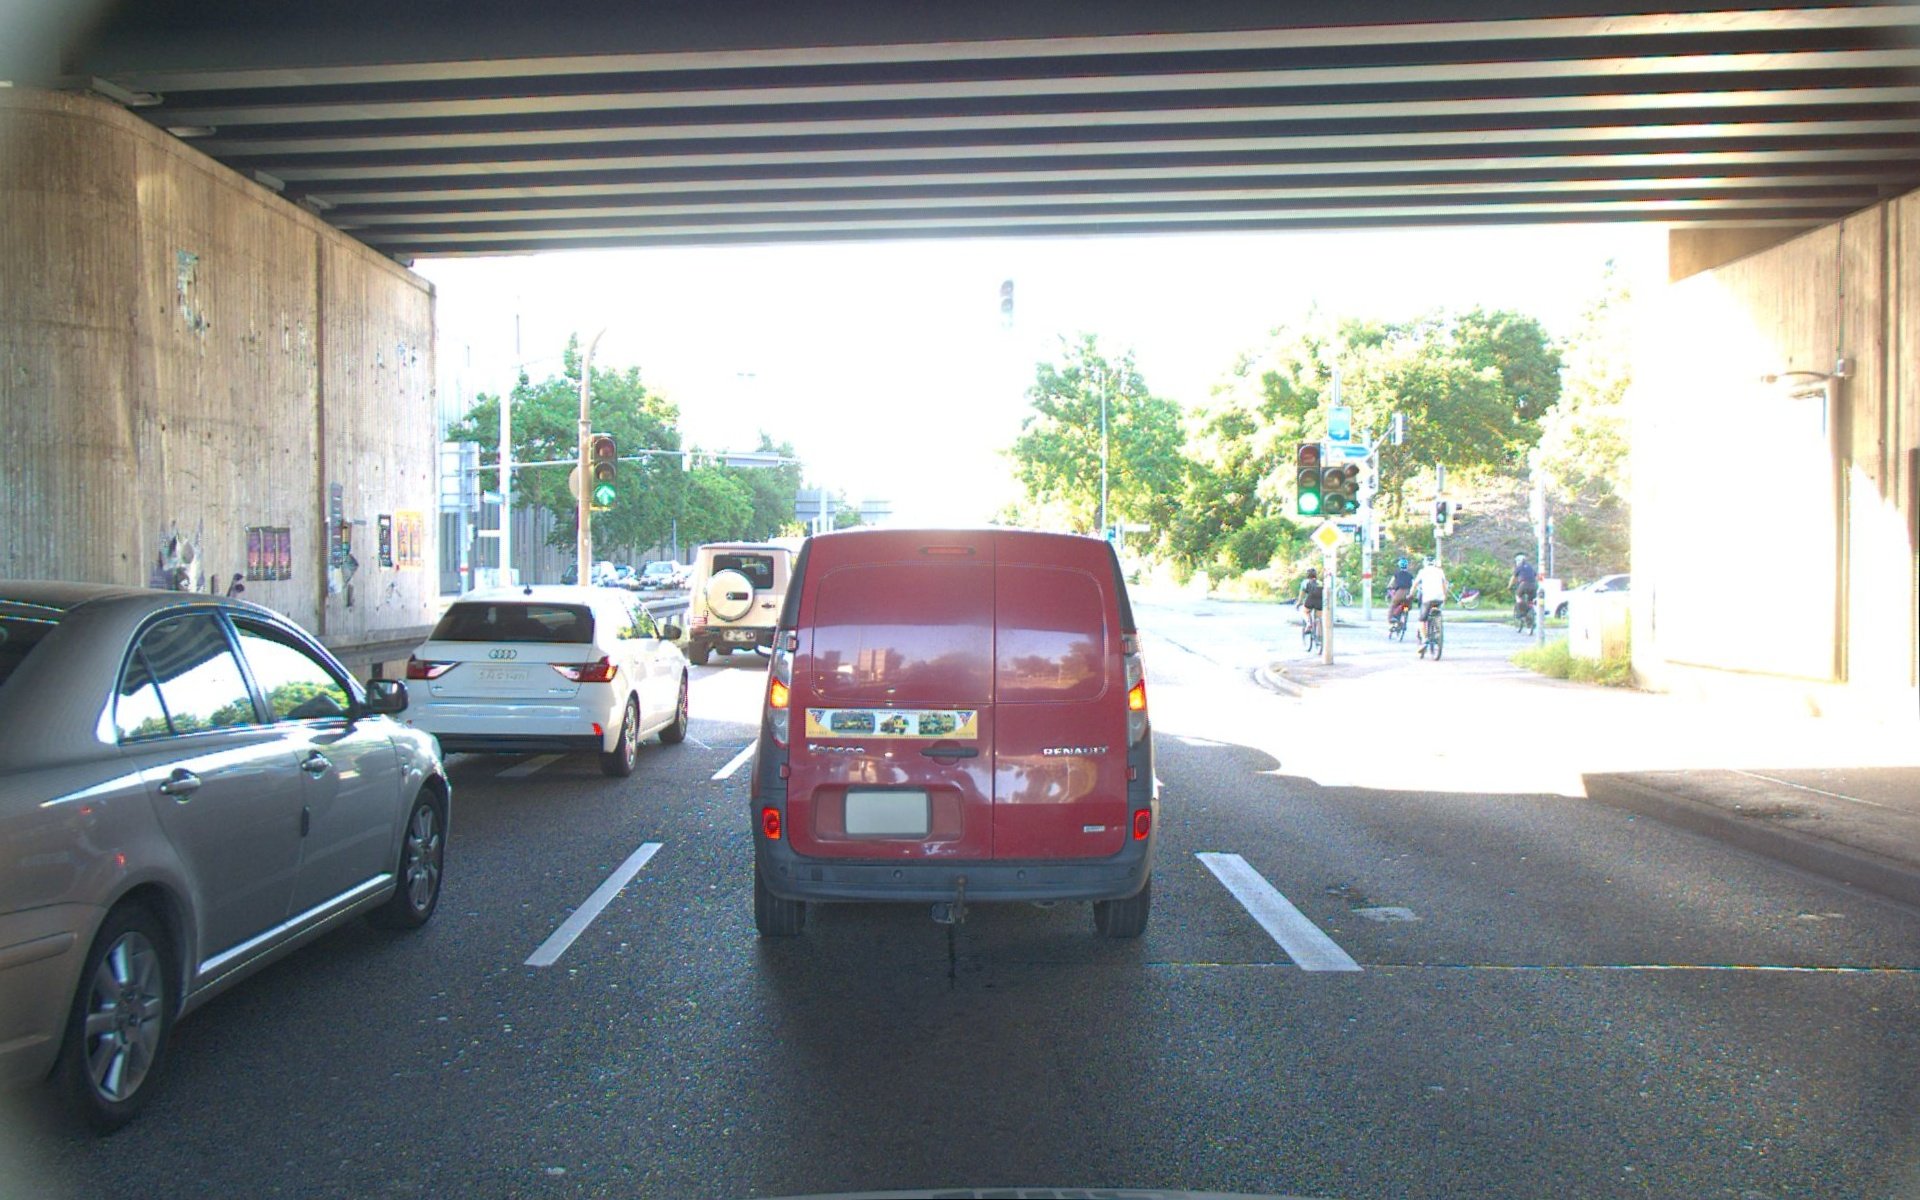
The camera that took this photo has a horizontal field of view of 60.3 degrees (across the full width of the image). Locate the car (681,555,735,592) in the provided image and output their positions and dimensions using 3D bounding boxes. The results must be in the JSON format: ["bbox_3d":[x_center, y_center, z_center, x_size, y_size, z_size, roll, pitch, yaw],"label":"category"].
[{"bbox_3d":[-10.642,-1.126,70.083,1.602,1.468,4.077,-2,1,0],"label":"car"}]

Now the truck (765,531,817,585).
[{"bbox_3d":[-10.232,-2.521,100.536,2.360,3.079,6.657,-2,1,0],"label":"truck"}]

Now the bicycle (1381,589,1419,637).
[{"bbox_3d":[9.786,0.288,36.818,0.657,1.041,2.057,1,0,11],"label":"bicycle"}]

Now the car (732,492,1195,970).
[{"bbox_3d":[-0.011,0.517,8.407,1.768,1.826,3.999,1,0,-1],"label":"car"}]

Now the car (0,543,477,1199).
[{"bbox_3d":[-3.030,0.618,5.549,1.698,1.506,4.317,0,0,-2],"label":"car"}]

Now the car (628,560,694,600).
[{"bbox_3d":[-13.155,-0.904,72.936,1.786,1.653,4.531,-2,1,3],"label":"car"}]

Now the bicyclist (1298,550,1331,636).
[{"bbox_3d":[6.925,-0.128,32.350,0.579,1.642,0.943,1,-1,10],"label":"bicyclist"}]

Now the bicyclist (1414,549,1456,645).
[{"bbox_3d":[7.928,-0.047,27.622,0.579,1.575,0.770,1,-1,10],"label":"bicyclist"}]

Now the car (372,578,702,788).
[{"bbox_3d":[-3.300,0.567,13.634,1.776,1.463,3.731,1,1,-1],"label":"car"}]

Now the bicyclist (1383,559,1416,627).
[{"bbox_3d":[9.755,-0.152,36.726,0.650,1.500,0.752,1,-1,11],"label":"bicyclist"}]

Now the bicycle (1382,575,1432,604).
[{"bbox_3d":[16.530,-0.376,61.161,1.707,1.041,0.594,1,-1,8],"label":"bicycle"}]

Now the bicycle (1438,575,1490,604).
[{"bbox_3d":[18.324,-0.377,60.155,1.707,1.041,0.594,1,-1,10],"label":"bicycle"}]

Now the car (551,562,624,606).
[{"bbox_3d":[-15.966,-0.704,71.099,1.786,1.768,4.631,-2,1,3],"label":"car"}]

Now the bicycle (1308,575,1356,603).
[{"bbox_3d":[14.056,-0.413,62.539,1.707,1.041,0.594,1,-1,8],"label":"bicycle"}]

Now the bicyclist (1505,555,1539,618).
[{"bbox_3d":[13.441,-0.329,39.541,0.635,1.506,0.619,1,1,6],"label":"bicyclist"}]

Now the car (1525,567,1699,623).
[{"bbox_3d":[19.178,-0.146,48.813,4.451,1.540,1.829,1,0,6],"label":"car"}]

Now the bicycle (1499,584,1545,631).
[{"bbox_3d":[13.453,0.166,39.622,0.653,1.041,1.752,0,3,5],"label":"bicycle"}]

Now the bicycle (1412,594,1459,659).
[{"bbox_3d":[7.934,0.431,27.632,0.579,1.041,1.752,1,0,10],"label":"bicycle"}]

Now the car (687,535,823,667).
[{"bbox_3d":[-3.391,0.027,28.127,1.764,2.023,4.588,1,0,-1],"label":"car"}]

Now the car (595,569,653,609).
[{"bbox_3d":[-15.987,-0.545,78.856,1.787,1.768,4.529,-2,1,-1],"label":"car"}]

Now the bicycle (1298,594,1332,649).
[{"bbox_3d":[6.931,0.421,32.350,0.579,1.041,1.752,1,0,10],"label":"bicycle"}]
